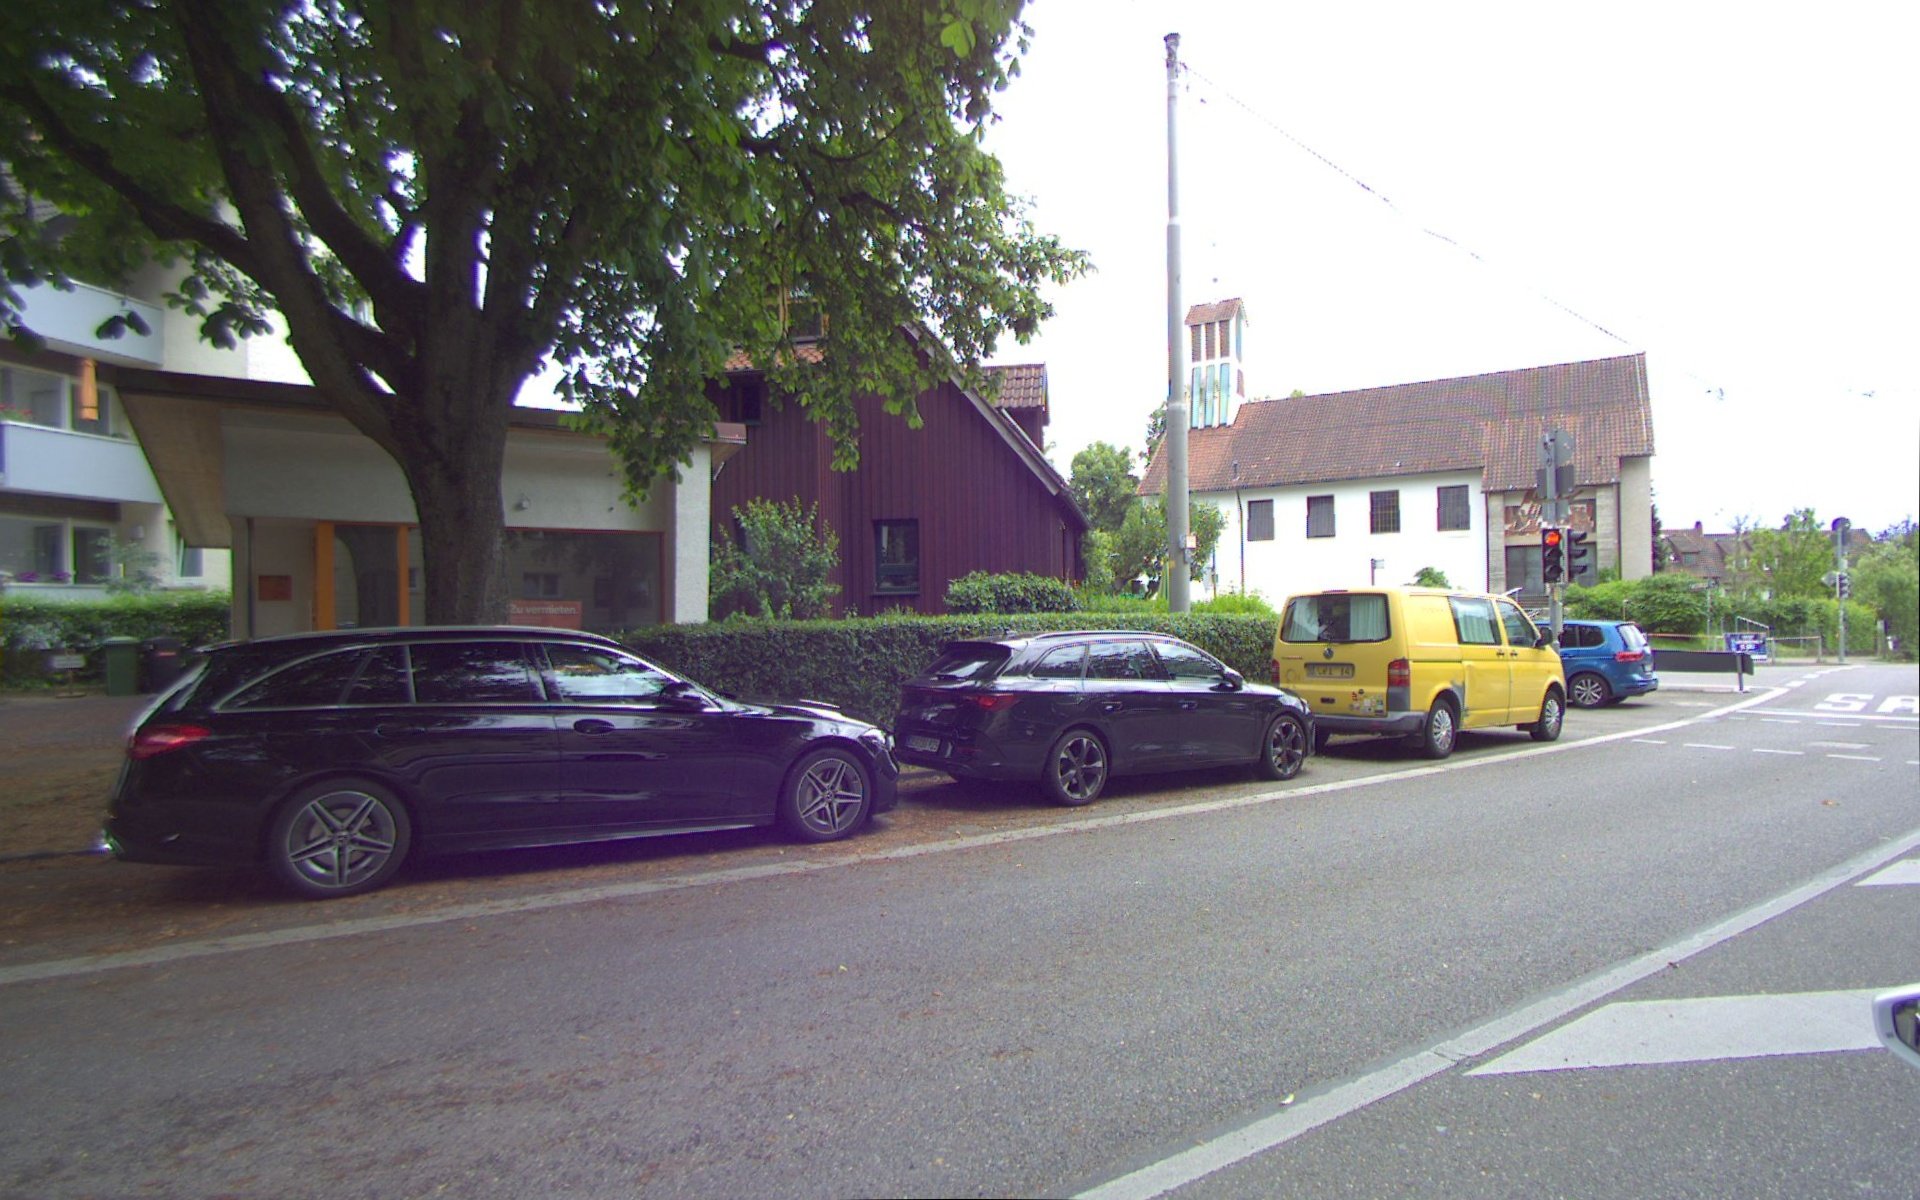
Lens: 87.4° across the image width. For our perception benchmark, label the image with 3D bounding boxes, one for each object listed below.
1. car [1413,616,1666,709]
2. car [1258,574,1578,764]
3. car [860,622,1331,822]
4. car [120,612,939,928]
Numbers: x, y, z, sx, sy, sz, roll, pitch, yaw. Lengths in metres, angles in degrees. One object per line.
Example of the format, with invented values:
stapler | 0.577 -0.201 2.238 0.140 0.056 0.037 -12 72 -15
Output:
car | 11.265 1.194 19.694 3.947 1.632 1.807 -3 -3 45
car | 5.999 0.803 12.943 4.525 2.040 1.869 1 -2 -38
car | 1.419 0.978 9.553 4.496 1.505 1.680 1 -2 -34
car | -2.598 0.881 6.897 4.562 1.520 1.984 1 -2 -31
